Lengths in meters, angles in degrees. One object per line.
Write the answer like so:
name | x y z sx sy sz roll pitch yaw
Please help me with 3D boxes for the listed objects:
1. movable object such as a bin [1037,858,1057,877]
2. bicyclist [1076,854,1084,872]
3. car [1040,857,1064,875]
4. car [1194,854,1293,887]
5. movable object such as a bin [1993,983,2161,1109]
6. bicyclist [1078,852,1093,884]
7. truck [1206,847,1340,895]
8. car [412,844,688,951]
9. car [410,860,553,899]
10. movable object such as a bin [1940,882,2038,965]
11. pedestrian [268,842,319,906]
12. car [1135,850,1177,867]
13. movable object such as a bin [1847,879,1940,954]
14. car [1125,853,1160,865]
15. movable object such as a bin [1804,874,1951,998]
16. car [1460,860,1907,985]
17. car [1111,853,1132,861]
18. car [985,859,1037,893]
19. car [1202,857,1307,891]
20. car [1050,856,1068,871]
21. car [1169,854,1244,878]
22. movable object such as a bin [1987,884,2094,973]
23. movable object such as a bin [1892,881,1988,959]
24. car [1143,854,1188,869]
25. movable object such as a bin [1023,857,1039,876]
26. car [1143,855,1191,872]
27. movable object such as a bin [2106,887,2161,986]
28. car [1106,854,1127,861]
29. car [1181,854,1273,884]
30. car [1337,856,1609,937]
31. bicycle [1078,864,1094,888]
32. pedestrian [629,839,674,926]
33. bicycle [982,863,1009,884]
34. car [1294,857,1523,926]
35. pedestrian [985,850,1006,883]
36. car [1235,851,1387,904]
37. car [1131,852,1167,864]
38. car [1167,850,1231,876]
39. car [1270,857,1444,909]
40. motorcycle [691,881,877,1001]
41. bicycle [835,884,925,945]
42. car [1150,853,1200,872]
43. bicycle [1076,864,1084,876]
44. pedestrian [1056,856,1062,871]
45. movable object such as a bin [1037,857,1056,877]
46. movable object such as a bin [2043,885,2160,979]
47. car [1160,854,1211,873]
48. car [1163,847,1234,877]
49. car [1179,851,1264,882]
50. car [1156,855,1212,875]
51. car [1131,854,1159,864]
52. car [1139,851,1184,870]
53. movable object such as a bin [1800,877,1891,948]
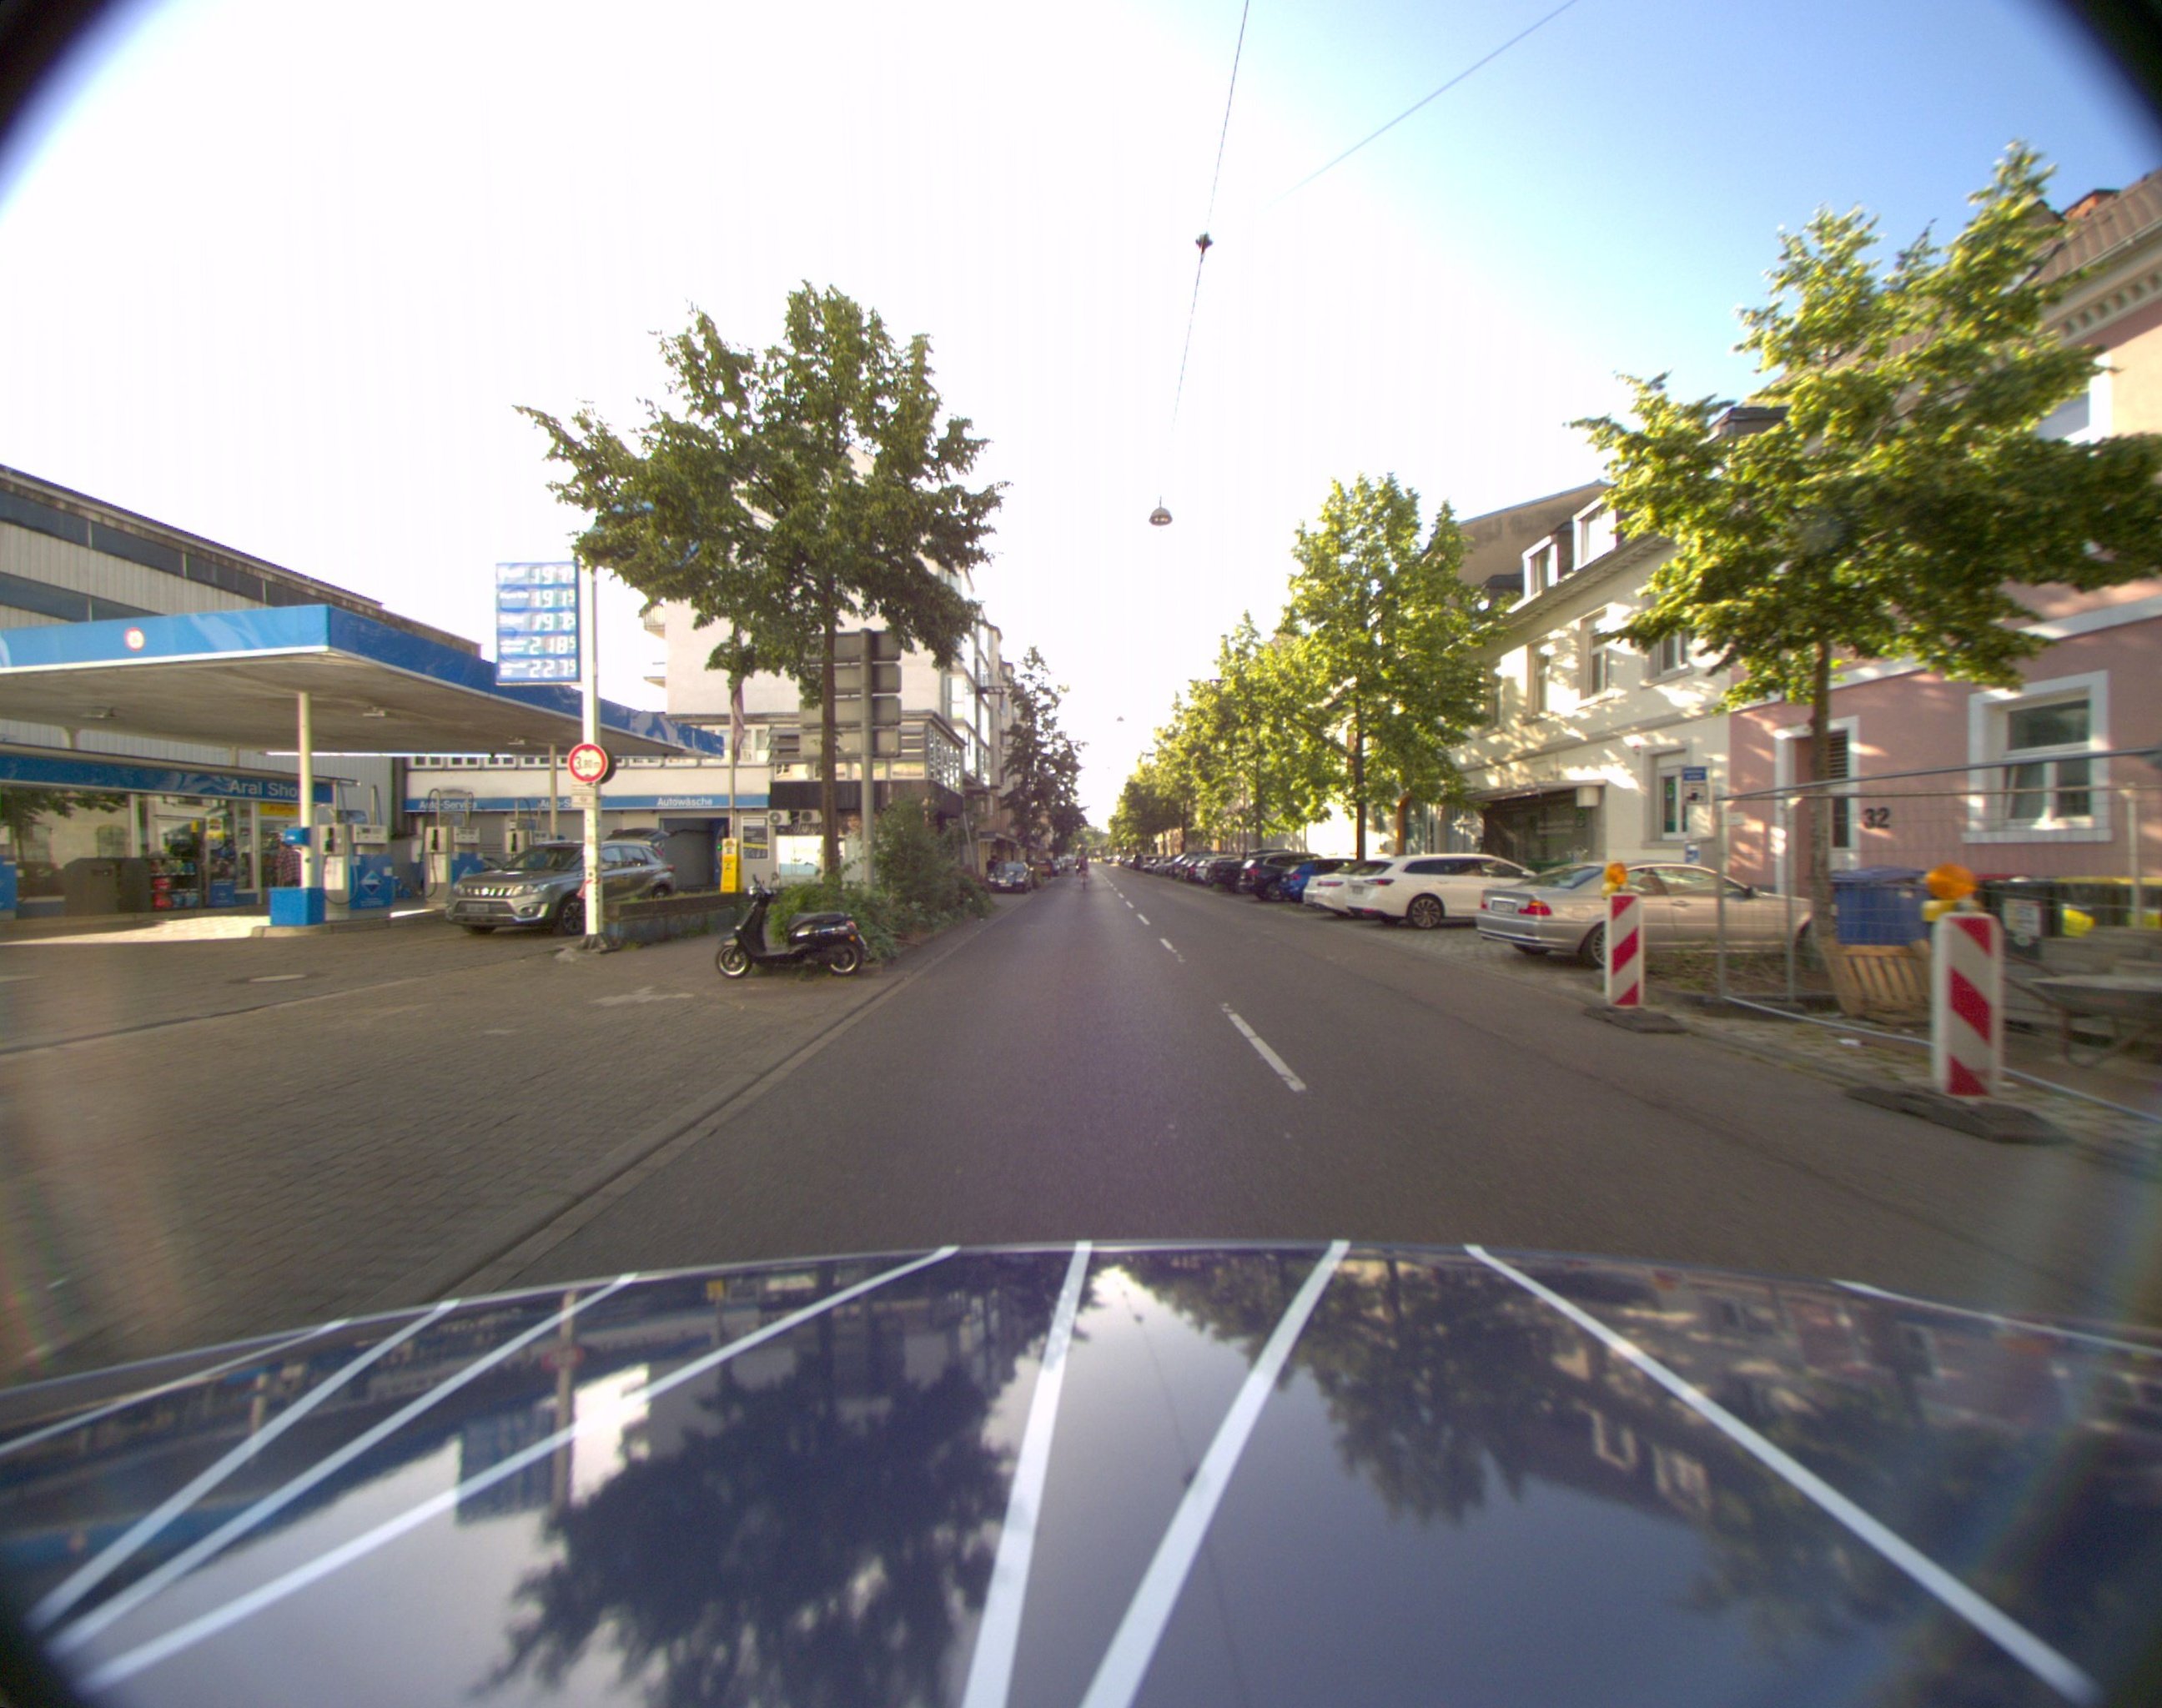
movable object such as a bin | -2.600 0.996 58.349 1.402 1.445 1.146 0 0 1
bicyclist | -0.095 0.815 69.220 0.658 1.562 0.909 -1 1 1
car | -2.578 1.031 68.074 1.826 1.463 4.911 2 0 1
car | 8.294 0.826 39.054 4.691 1.563 1.808 -1 0 2
movable object such as a bin | 6.797 1.223 4.861 0.629 0.612 1.077 0 0 0
bicyclist | 0.238 0.691 37.727 0.718 1.553 0.864 -1 1 0
truck | 7.884 0.684 31.577 5.097 1.927 2.000 0 0 0
car | -9.293 0.668 13.851 1.905 1.638 4.294 0 0 2
car | -21.934 0.909 27.859 3.994 1.350 1.908 0 0 10
movable object such as a bin | 12.085 0.914 10.125 0.634 1.054 0.544 0 0 1
pedestrian | -19.556 0.494 18.873 0.612 1.568 0.612 0 0 -4
car | 8.412 0.503 85.918 4.584 1.915 1.930 -1 0 3
movable object such as a bin | 12.098 0.916 11.335 0.697 1.054 0.640 0 0 1
car | 8.784 0.731 108.235 4.713 1.484 1.999 -2 2 -4
movable object such as a bin | 8.122 0.809 7.774 0.733 1.179 0.745 0 0 -8
car | 7.911 0.844 10.266 4.693 1.404 1.807 -1 0 -2
car | 8.456 0.614 159.804 4.006 1.553 1.995 -1 0 -31
car | -3.108 0.966 34.785 1.905 1.404 4.647 1 0 0
car | 8.291 0.946 36.610 4.691 1.454 1.808 -1 0 2
car | -2.490 1.036 87.499 1.826 1.587 4.842 2 0 1
car | 8.189 0.795 49.935 4.657 1.450 1.683 -1 0 0
movable object such as a bin | 12.052 0.920 9.558 0.634 1.054 0.544 0 0 1
movable object such as a bin | 12.080 0.914 10.703 0.697 1.054 0.574 0 0 1
car | 8.667 0.728 78.141 4.351 1.430 1.916 -1 0 -1
movable object such as a bin | -3.752 0.921 57.046 1.080 1.423 1.295 0 0 1
car | 8.188 0.885 72.735 4.476 1.532 1.917 -1 0 3
movable object such as a bin | 12.049 0.911 8.418 0.634 1.054 0.544 0 0 1
car | 7.568 0.679 162.028 4.006 1.433 1.995 -1 0 -31
car | 7.989 0.826 41.860 4.691 1.510 1.808 -1 0 2
car | 7.917 0.815 15.635 4.693 1.456 1.807 -1 0 -2
bicycle | 0.235 1.092 37.921 0.718 1.105 2.269 -1 0 0
pedestrian | -9.281 0.604 16.436 0.689 1.839 0.708 0 1 -15
bicycle | -4.869 1.100 43.212 0.683 1.142 1.680 -1 0 -41
car | 7.721 0.843 18.186 4.693 1.456 1.807 -1 0 -2
pedestrian | -4.919 0.724 43.963 0.925 1.924 0.762 0 0 26
car | 7.838 0.773 26.232 4.691 1.683 1.808 -1 0 2
car | 9.079 0.538 101.239 4.354 1.535 1.962 -1 0 -11
car | 8.754 0.649 56.547 4.477 1.761 1.917 -1 0 2
car | 8.399 0.860 23.421 4.691 1.455 1.808 -1 0 2
motorcycle | -3.565 1.021 9.325 1.984 1.322 0.911 0 0 -12
bicycle | -3.572 1.053 13.610 0.435 0.983 1.675 1 0 35
car | 8.670 0.777 70.305 4.350 1.699 1.916 -1 0 0
bicycle | -0.086 1.439 69.198 0.666 1.061 1.836 -1 0 1
pedestrian | -2.213 0.979 76.820 0.652 1.527 0.980 0 1 -1
movable object such as a bin | -2.565 0.961 57.184 1.334 1.533 1.146 0 0 1
movable object such as a bin | 12.043 0.903 8.982 0.634 1.054 0.544 0 0 1
car | 9.308 0.839 68.028 4.350 1.572 1.809 -1 0 0
car | 8.190 0.545 53.277 4.691 1.938 1.917 -1 0 2
car | 8.230 0.745 44.794 4.691 1.702 1.808 -1 0 2
car | 8.478 0.888 63.088 4.476 1.532 1.917 -1 0 4
car | 10.100 0.742 120.947 4.349 1.535 1.945 -1 0 3
car | 8.587 0.690 80.991 4.354 1.823 1.915 -1 0 -9
movable object such as a bin | 12.101 0.912 12.042 0.697 1.054 0.732 0 0 1
